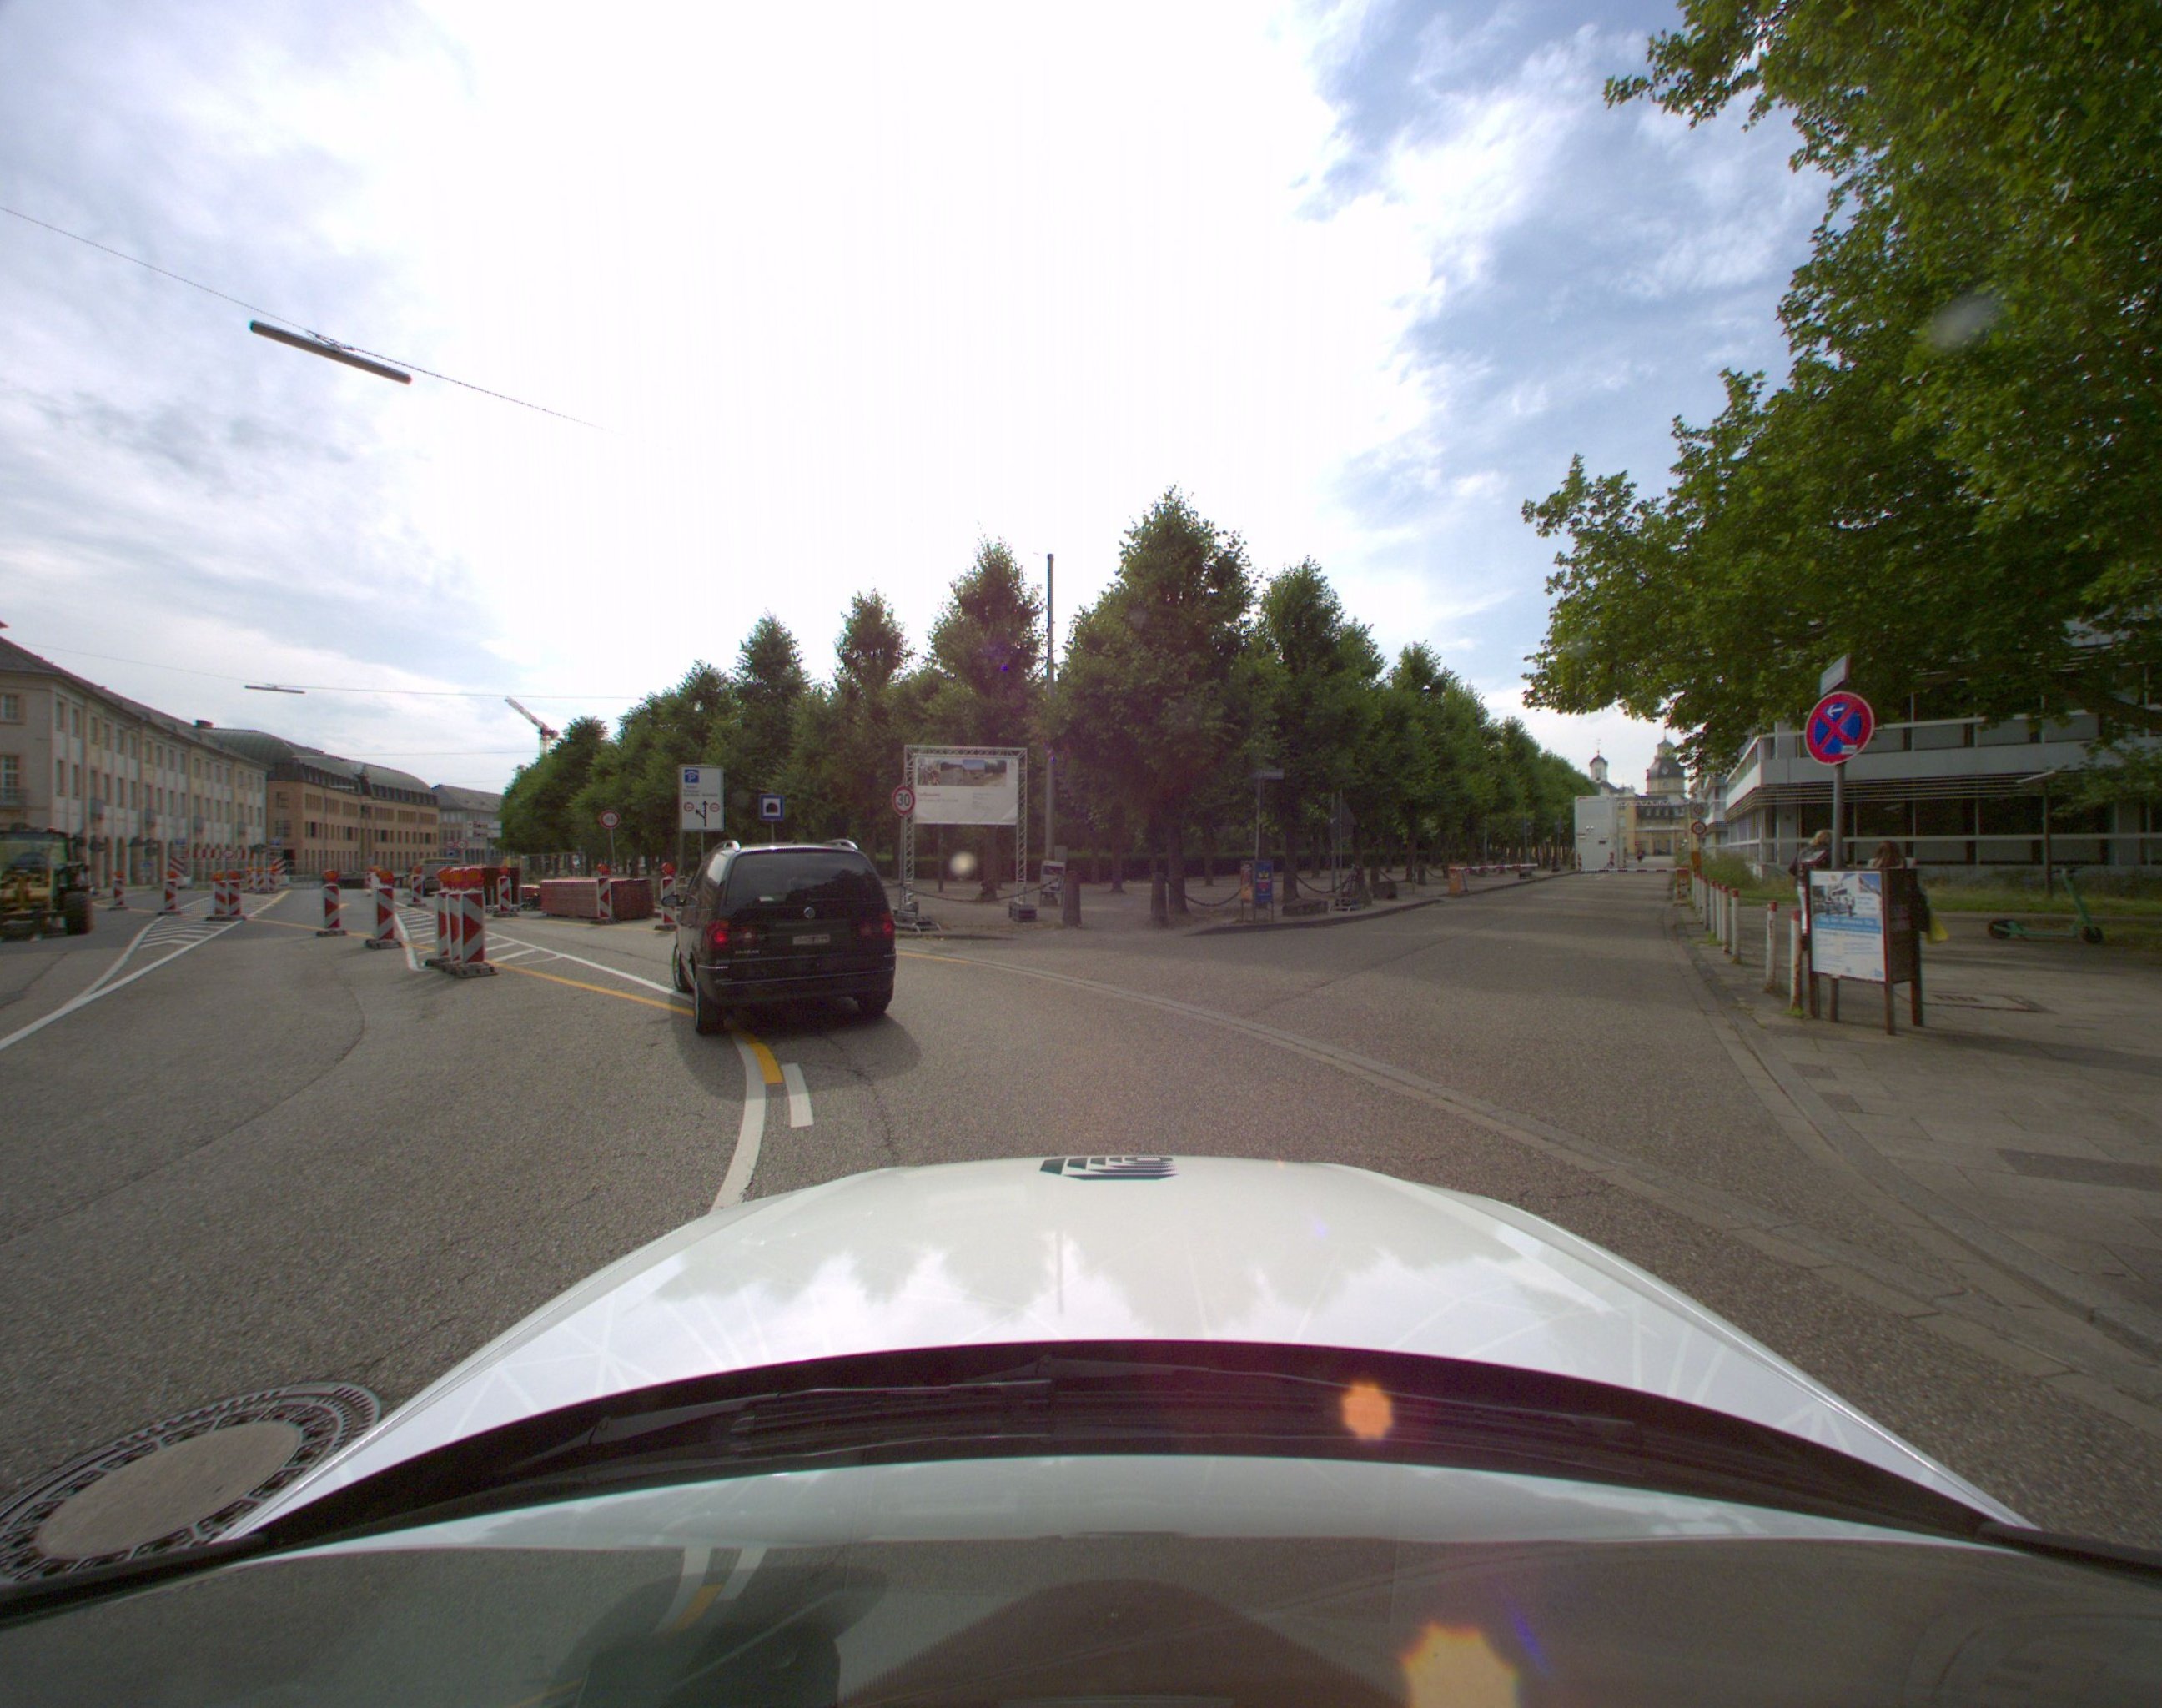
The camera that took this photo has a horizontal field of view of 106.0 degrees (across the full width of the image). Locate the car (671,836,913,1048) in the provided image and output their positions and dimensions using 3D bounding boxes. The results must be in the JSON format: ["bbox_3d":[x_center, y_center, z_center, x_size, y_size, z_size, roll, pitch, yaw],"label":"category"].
[{"bbox_3d":[-3.334,0.716,8.833,1.804,1.708,4.092,-1,0,-29],"label":"car"}]

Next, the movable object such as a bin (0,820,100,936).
[{"bbox_3d":[-26.873,0.598,20.823,4.560,2.718,2.136,-1,0,41],"label":"movable object such as a bin"}]

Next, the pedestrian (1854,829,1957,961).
[{"bbox_3d":[10.805,0.495,10.711,0.887,1.641,0.857,1,1,43],"label":"pedestrian"}]

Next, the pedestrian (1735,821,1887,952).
[{"bbox_3d":[10.195,0.428,11.425,1.247,1.741,0.963,0,1,0],"label":"pedestrian"}]

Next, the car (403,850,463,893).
[{"bbox_3d":[-33.926,0.869,42.609,2.012,2.013,4.291,-1,2,-45],"label":"car"}]

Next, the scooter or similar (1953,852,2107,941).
[{"bbox_3d":[14.671,0.626,12.644,1.436,1.269,0.574,1,1,32],"label":"scooter or similar"}]

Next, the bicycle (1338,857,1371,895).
[{"bbox_3d":[8.985,0.703,26.698,0.944,1.110,2.592,1,1,19],"label":"bicycle"}]

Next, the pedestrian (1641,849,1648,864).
[{"bbox_3d":[62.044,0.248,89.669,0.455,1.625,0.635,1,1,23],"label":"pedestrian"}]
